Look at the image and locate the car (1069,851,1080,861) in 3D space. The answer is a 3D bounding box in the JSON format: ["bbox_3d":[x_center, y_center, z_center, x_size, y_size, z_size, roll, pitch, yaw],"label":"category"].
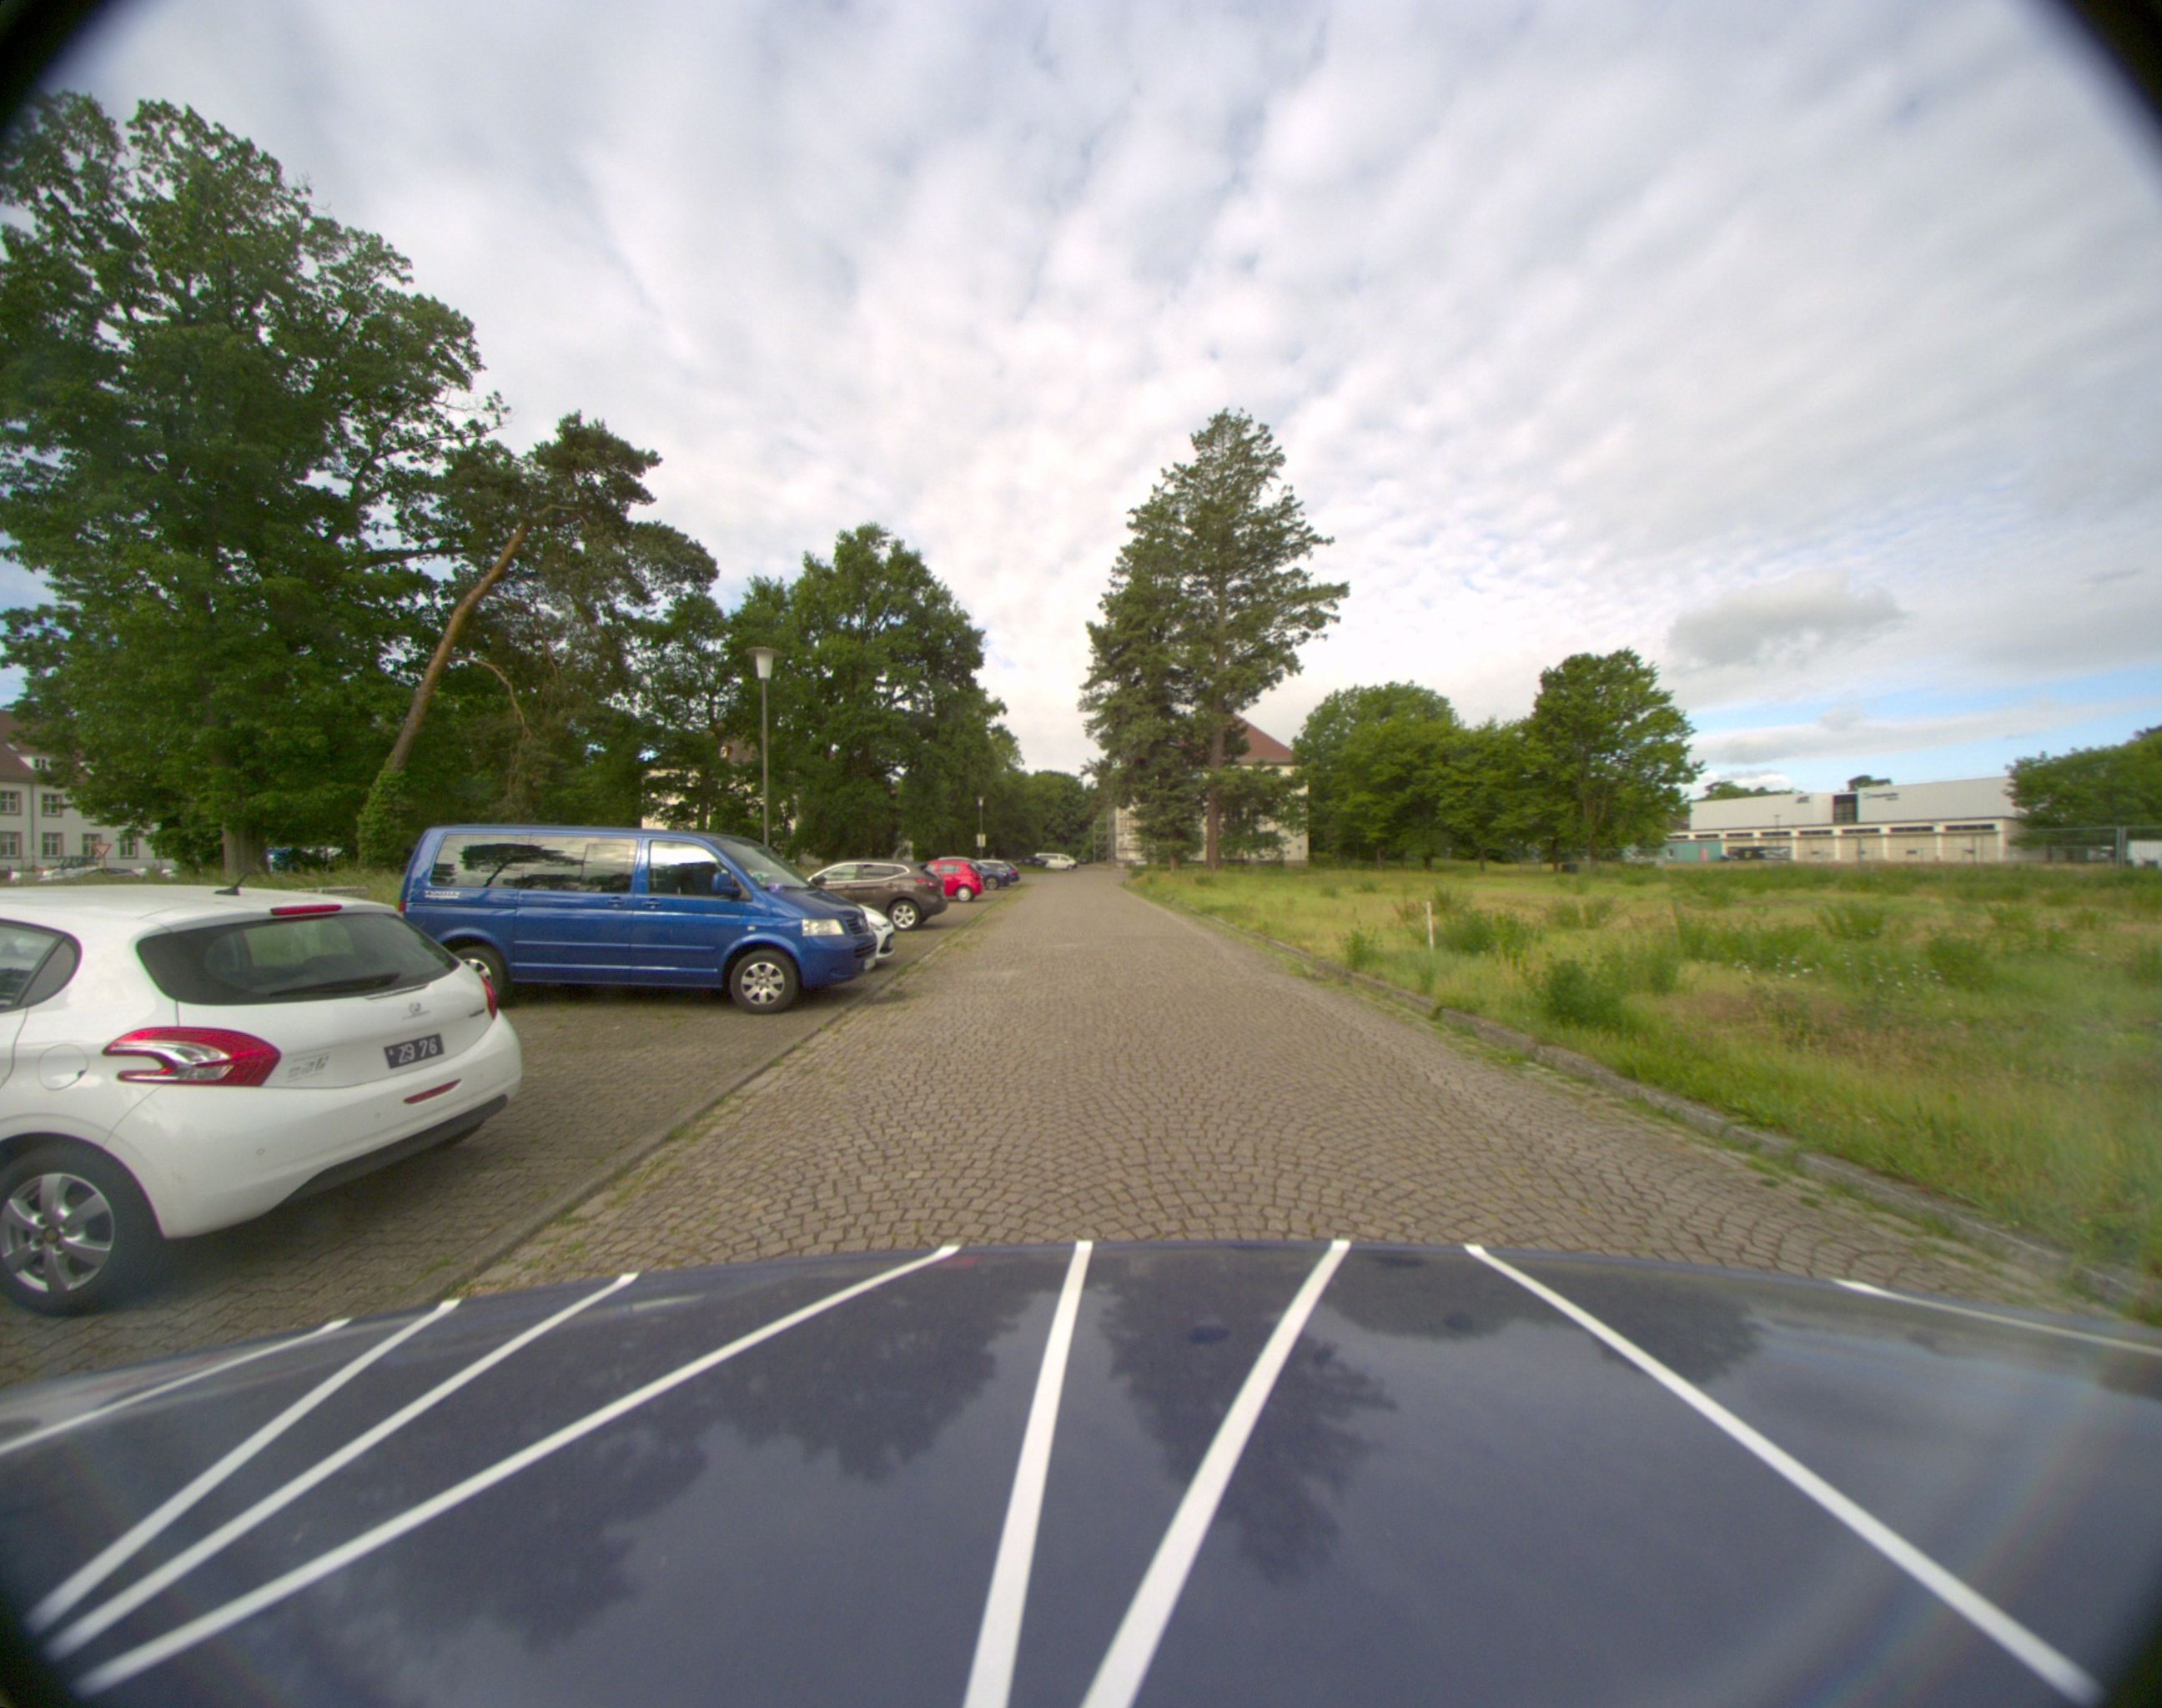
[{"bbox_3d":[-1.368,0.474,158.026,1.963,2.002,4.259,0,0,-3],"label":"car"}]

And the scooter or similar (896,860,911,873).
[{"bbox_3d":[-16.480,1.176,70.611,1.308,1.163,0.413,-2,1,-2],"label":"scooter or similar"}]

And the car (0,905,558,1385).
[{"bbox_3d":[-4.781,1.029,3.381,3.663,1.470,1.765,1,0,-2],"label":"car"}]

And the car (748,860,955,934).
[{"bbox_3d":[-5.162,0.958,17.583,4.215,1.585,1.952,1,0,-4],"label":"car"}]

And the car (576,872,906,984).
[{"bbox_3d":[-4.808,1.031,11.235,4.109,1.470,1.721,1,0,-4],"label":"car"}]

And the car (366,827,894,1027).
[{"bbox_3d":[-4.773,0.750,8.687,4.809,1.992,1.965,1,0,-3],"label":"car"}]

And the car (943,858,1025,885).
[{"bbox_3d":[-5.440,0.987,42.930,4.368,1.430,1.926,0,0,1],"label":"car"}]

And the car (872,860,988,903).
[{"bbox_3d":[-5.460,0.988,27.883,3.934,1.488,1.784,0,0,-3],"label":"car"}]

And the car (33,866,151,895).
[{"bbox_3d":[-59.521,1.551,45.844,1.653,1.543,4.079,-2,0,0],"label":"car"}]

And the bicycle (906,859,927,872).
[{"bbox_3d":[-15.622,1.114,71.981,1.862,1.163,0.487,-1,1,-27],"label":"bicycle"}]

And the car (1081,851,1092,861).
[{"bbox_3d":[1.162,0.454,158.331,1.963,2.002,4.259,0,0,-3],"label":"car"}]

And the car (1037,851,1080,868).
[{"bbox_3d":[-2.673,0.627,91.808,5.150,2.002,1.999,0,1,-1],"label":"car"}]

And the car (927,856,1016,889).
[{"bbox_3d":[-5.444,0.923,38.188,4.257,1.613,1.886,0,0,-3],"label":"car"}]
